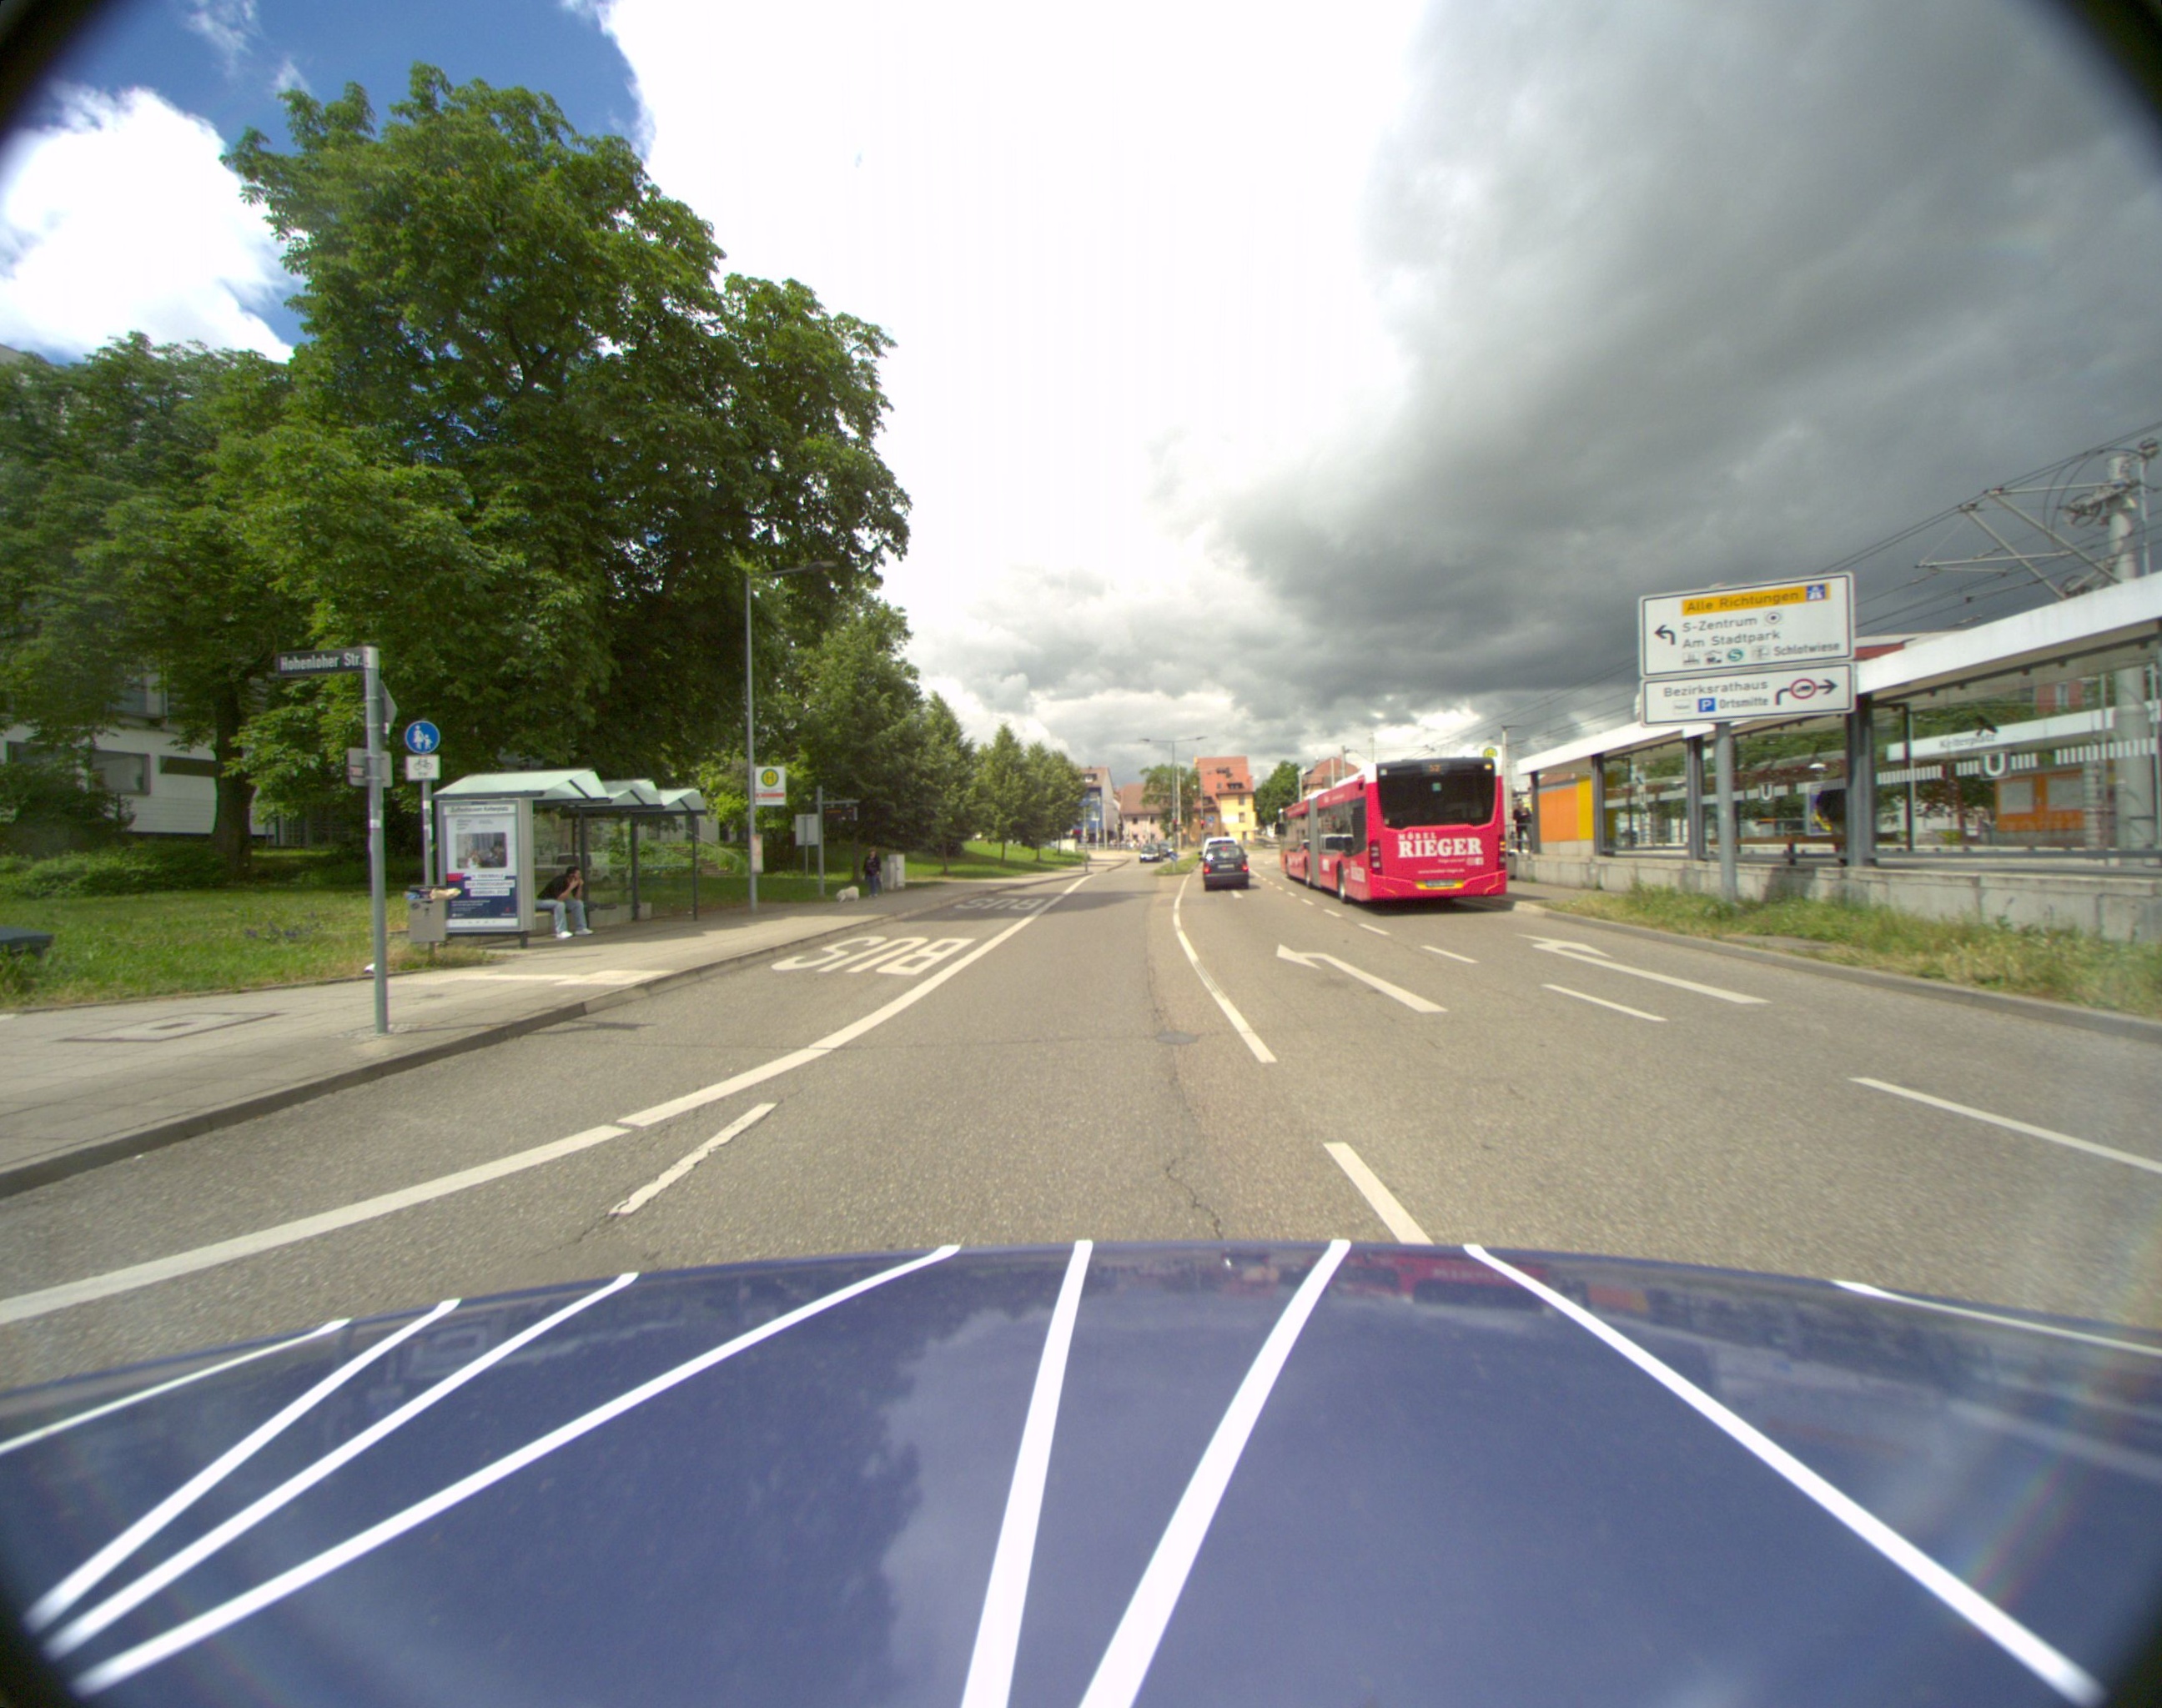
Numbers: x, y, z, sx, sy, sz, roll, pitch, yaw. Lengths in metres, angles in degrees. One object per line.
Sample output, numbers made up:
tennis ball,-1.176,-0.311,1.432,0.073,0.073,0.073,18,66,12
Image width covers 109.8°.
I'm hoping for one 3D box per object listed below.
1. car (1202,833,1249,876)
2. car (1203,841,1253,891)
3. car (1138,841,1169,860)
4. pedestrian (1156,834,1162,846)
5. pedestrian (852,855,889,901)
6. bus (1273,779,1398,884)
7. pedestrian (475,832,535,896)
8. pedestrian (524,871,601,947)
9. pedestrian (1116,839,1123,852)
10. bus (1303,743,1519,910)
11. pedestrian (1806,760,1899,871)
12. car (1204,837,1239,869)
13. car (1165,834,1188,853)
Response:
car,6.352,0.100,33.846,1.765,1.652,4.511,-1,-3,7
car,5.111,0.366,26.658,1.532,1.542,3.734,-3,1,9
car,6.153,-0.271,63.874,1.880,1.420,4.005,-2,-1,15
pedestrian,10.645,-1.914,103.705,0.692,1.740,0.752,-1,1,4
pedestrian,-6.662,0.747,24.101,0.821,1.417,0.830,-1,2,9
bus,8.944,-0.620,27.906,2.731,3.090,9.712,-2,-1,9
pedestrian,-16.050,0.270,21.197,0.987,1.750,0.859,-1,2,19
pedestrian,-8.987,0.942,13.187,0.828,1.251,0.686,-1,1,12
pedestrian,5.376,-1.161,106.430,0.753,1.740,0.586,-2,1,-18
bus,7.461,-0.446,18.719,2.731,3.051,8.971,-2,-1,10
pedestrian,11.877,-0.569,11.723,0.688,1.646,0.701,-2,0,9
car,7.794,-0.087,41.903,1.702,1.639,4.081,-2,0,12
car,9.113,-0.952,72.257,1.997,1.639,4.424,-2,-1,10
